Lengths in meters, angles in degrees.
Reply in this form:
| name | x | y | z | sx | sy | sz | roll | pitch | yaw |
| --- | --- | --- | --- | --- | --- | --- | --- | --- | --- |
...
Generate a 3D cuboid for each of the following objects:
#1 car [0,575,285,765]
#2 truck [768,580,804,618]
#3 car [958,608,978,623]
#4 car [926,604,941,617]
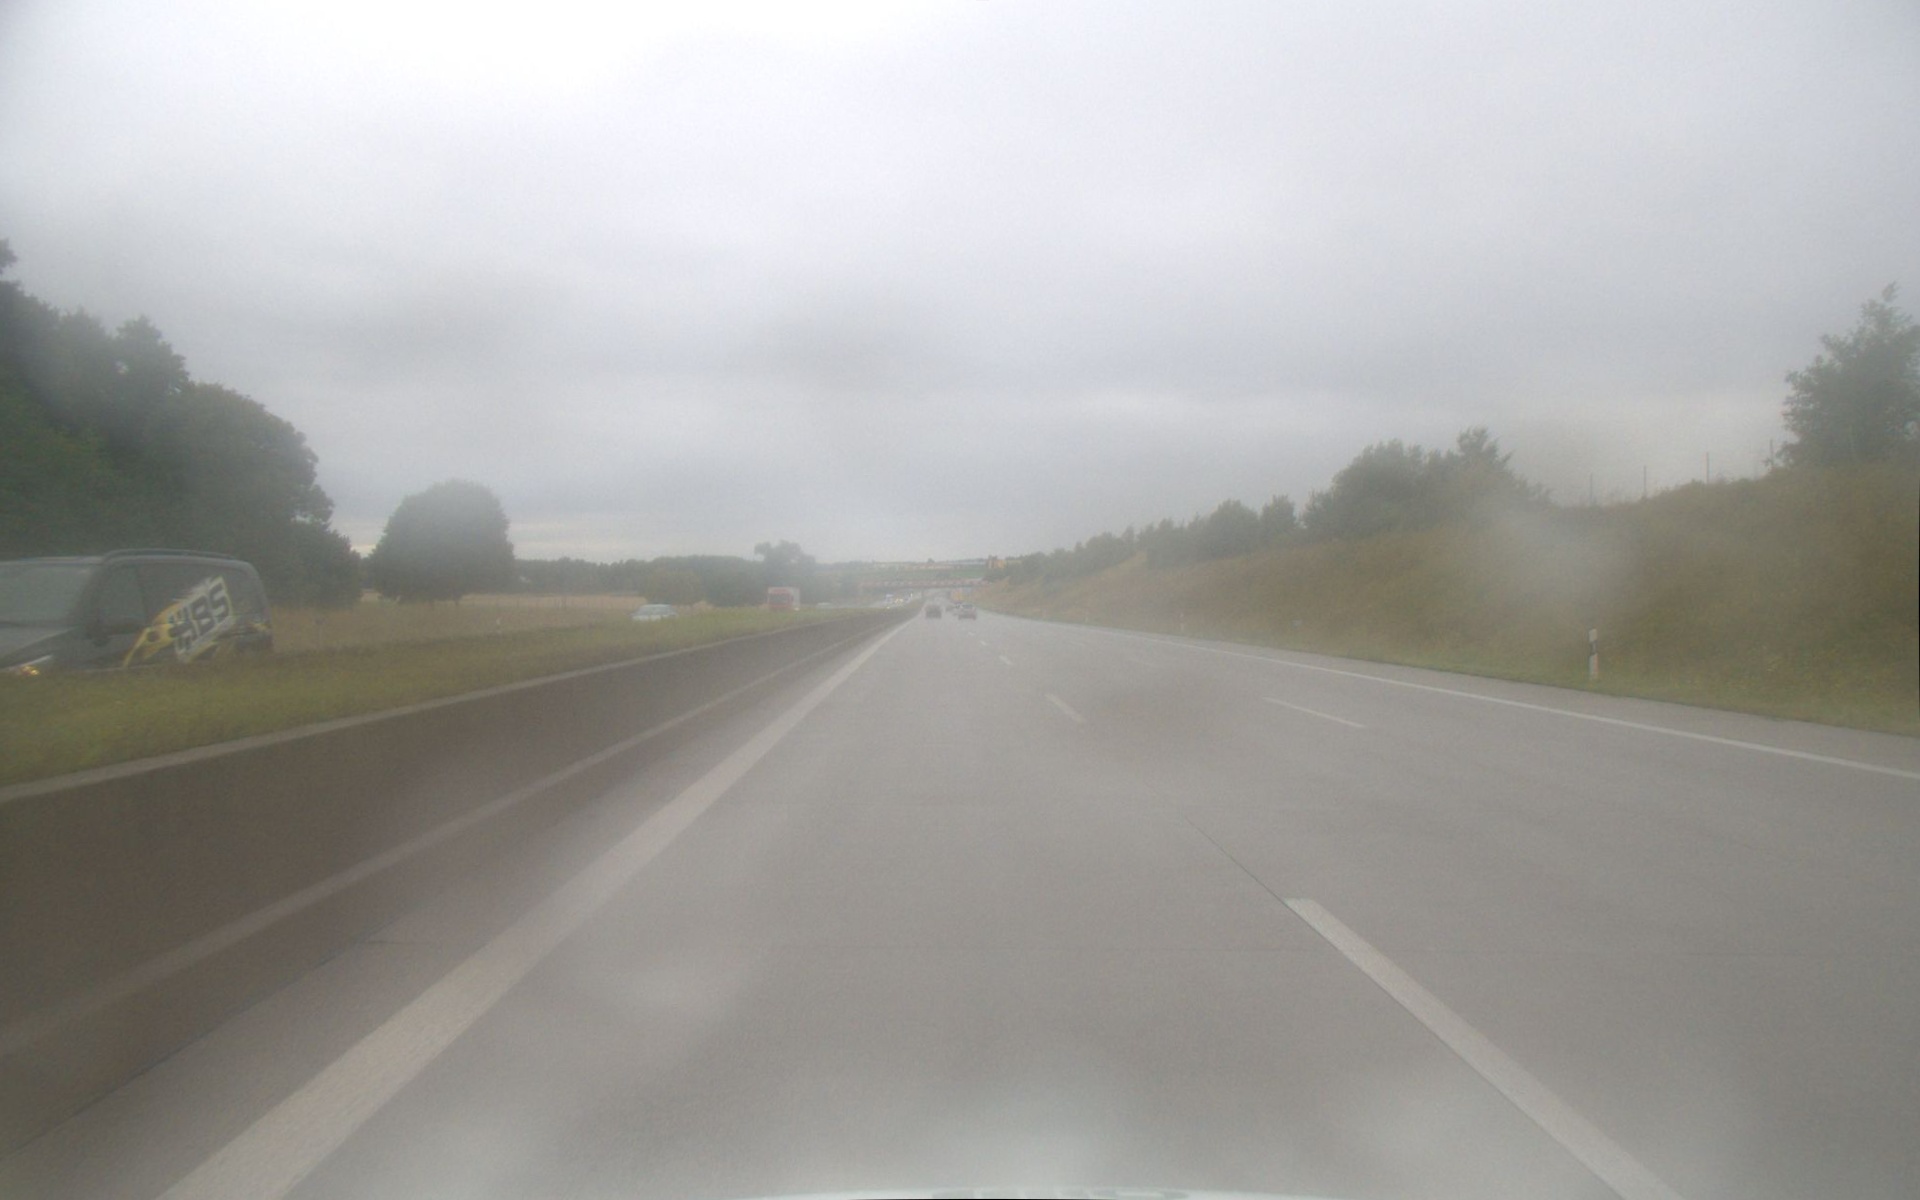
| name | x | y | z | sx | sy | sz | roll | pitch | yaw |
| --- | --- | --- | --- | --- | --- | --- | --- | --- | --- |
| car | -8.391 | 0.583 | 15.972 | 1.953 | 1.570 | 4.558 | -1 | 0 | -2 |
| truck | -18.735 | -0.219 | 178.773 | 2.844 | 3.923 | 12.447 | -1 | 1 | -1 |
| car | 0.802 | 1.561 | 169.869 | 1.810 | 1.354 | 4.428 | 0 | 1 | -2 |
| car | -2.923 | 1.163 | 183.329 | 1.694 | 1.354 | 4.429 | 0 | 1 | -1 |
